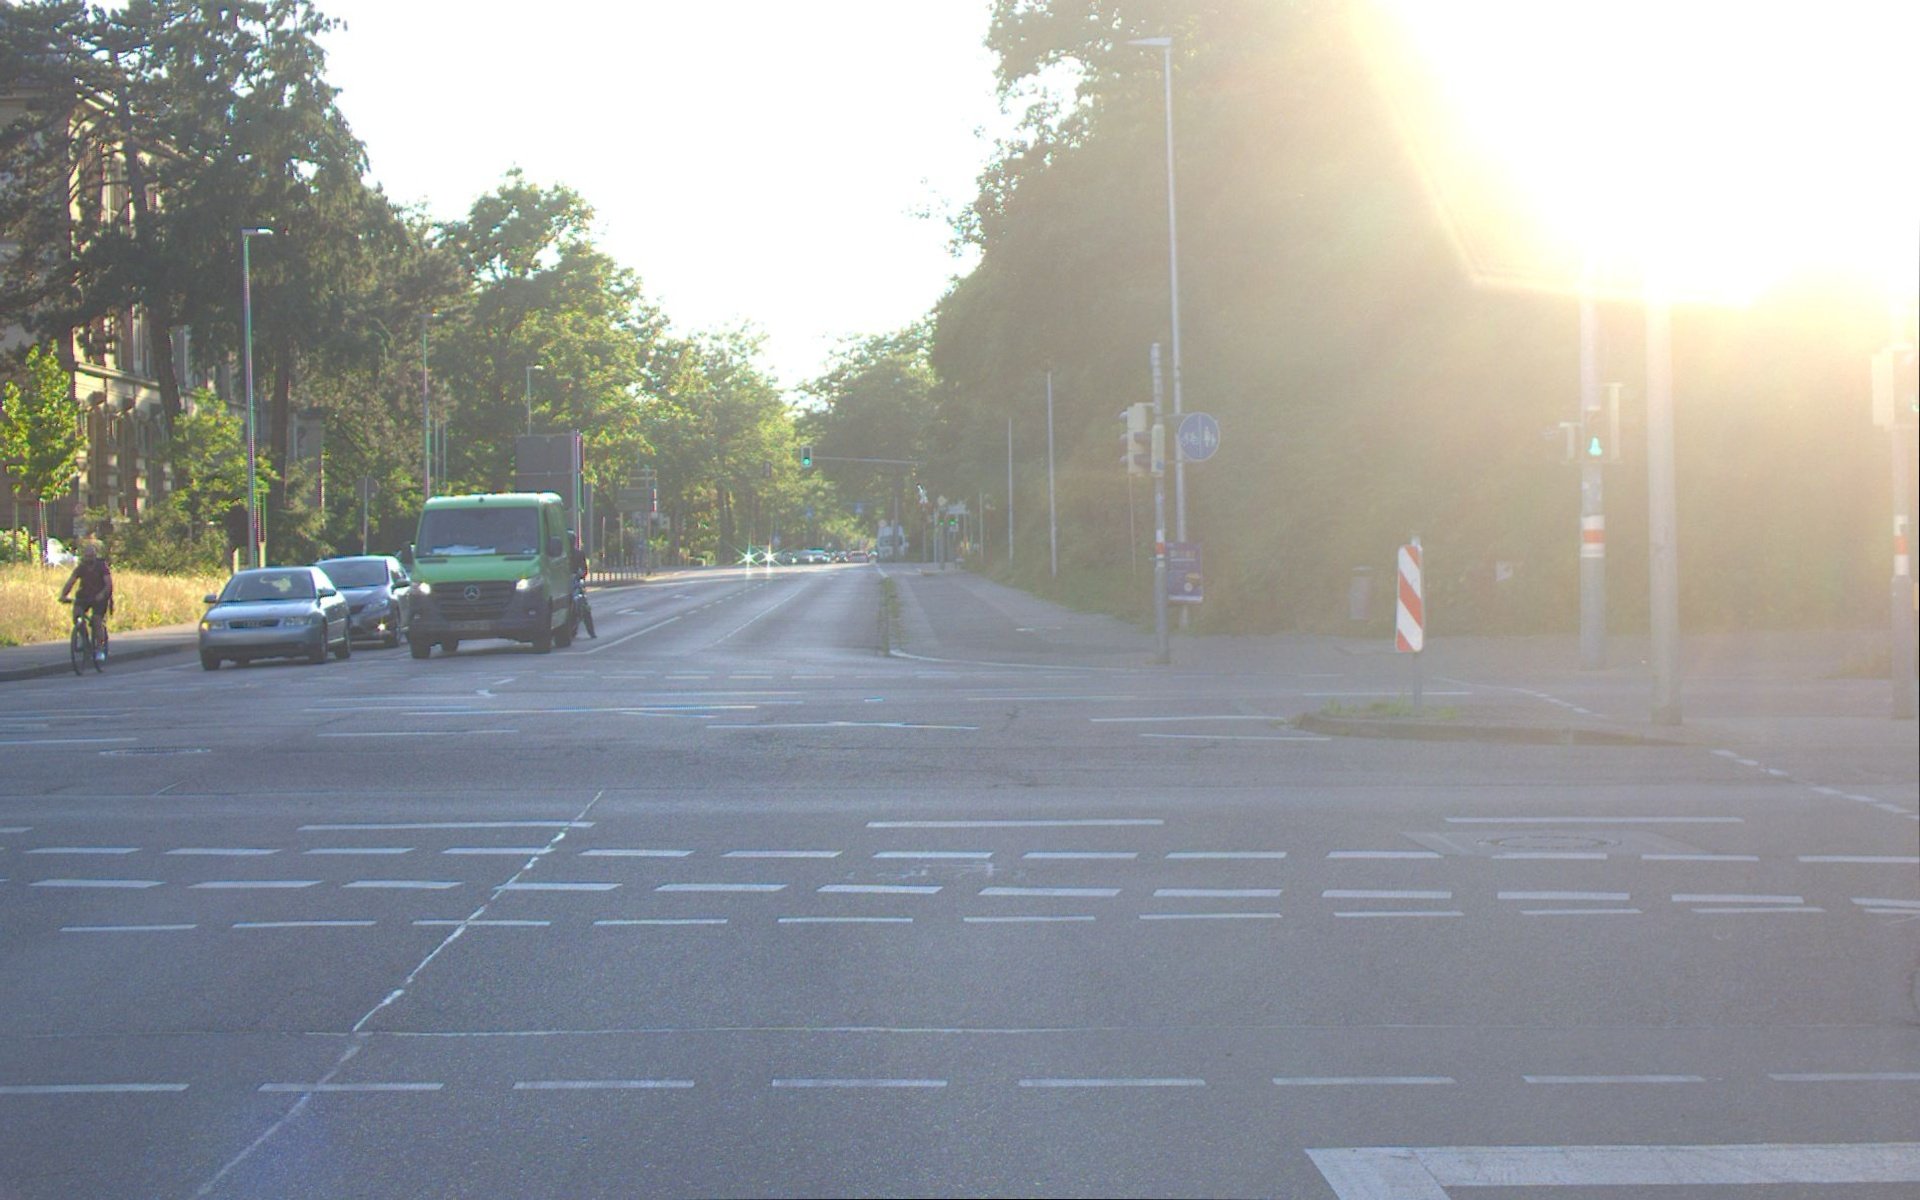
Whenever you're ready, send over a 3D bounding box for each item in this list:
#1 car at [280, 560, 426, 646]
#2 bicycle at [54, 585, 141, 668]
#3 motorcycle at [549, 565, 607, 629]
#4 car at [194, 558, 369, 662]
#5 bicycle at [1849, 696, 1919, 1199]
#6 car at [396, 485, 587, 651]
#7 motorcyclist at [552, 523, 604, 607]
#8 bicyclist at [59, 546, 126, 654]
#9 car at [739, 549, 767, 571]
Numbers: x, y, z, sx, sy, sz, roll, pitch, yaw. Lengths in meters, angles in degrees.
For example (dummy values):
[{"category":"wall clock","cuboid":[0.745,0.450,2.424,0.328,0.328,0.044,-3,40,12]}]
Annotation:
[{"category":"car","cuboid":[-9.897,0.027,56.298,1.764,1.323,3.643,-1,1,-1]},{"category":"bicycle","cuboid":[-12.263,0.369,48.937,0.686,1.119,2.169,-1,1,-1]},{"category":"motorcycle","cuboid":[-6.232,-0.054,56.180,0.754,0.998,1.879,-1,1,-1]},{"category":"car","cuboid":[-9.768,0.113,49.755,1.730,1.404,4.140,-1,1,-1]},{"category":"bicycle","cuboid":[2.432,0.810,7.232,0.613,1.134,1.884,0,1,-1]},{"category":"car","cuboid":[-6.828,-0.488,50.693,2.038,2.270,5.941,-1,1,-1]},{"category":"motorcyclist","cuboid":[-6.241,-0.572,56.191,0.749,1.353,0.704,-1,0,-1]},{"category":"bicyclist","cuboid":[-12.265,-0.005,48.635,0.683,1.507,0.956,-1,1,-1]},{"category":"car","cuboid":[-13.834,-2.670,229.103,1.770,1.469,3.777,-1,1,-4]}]
